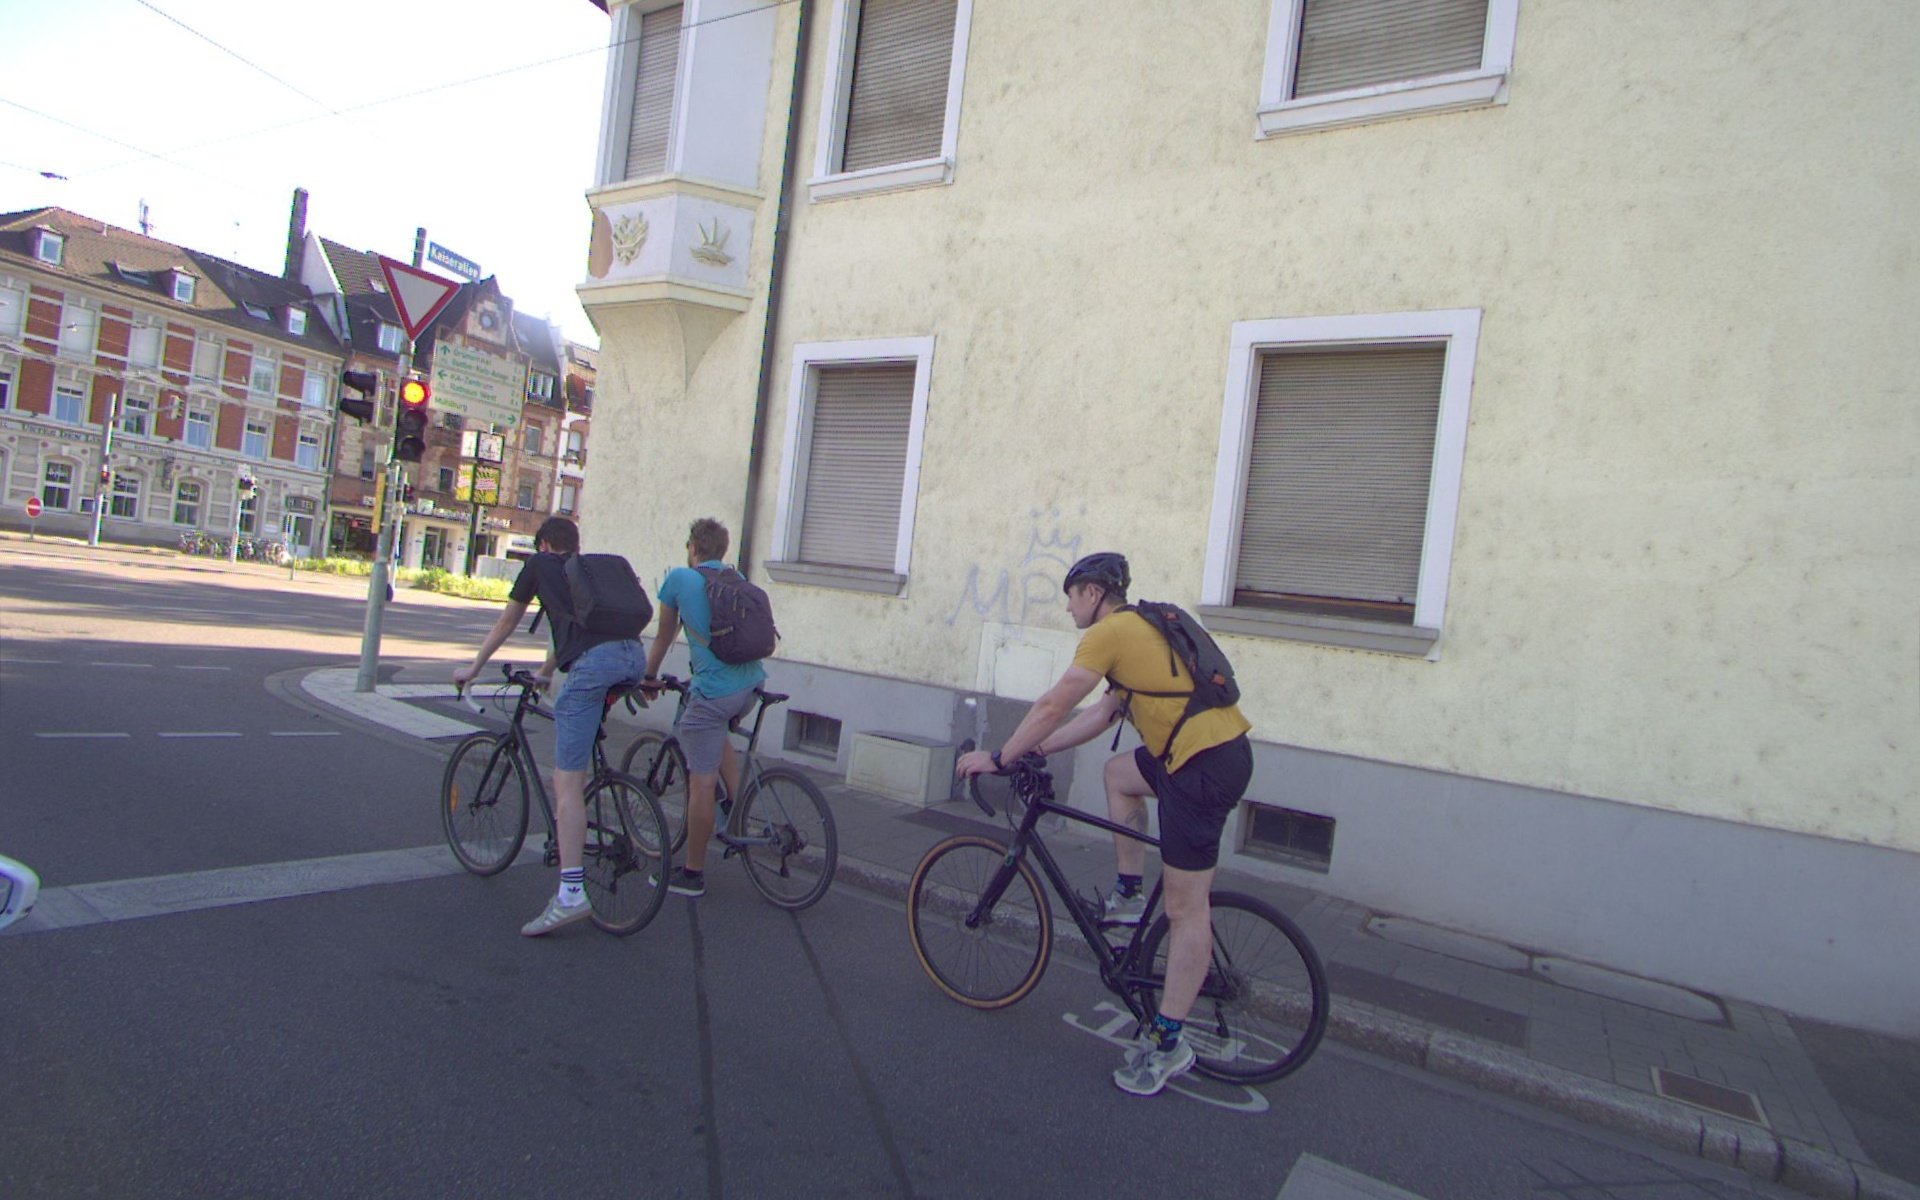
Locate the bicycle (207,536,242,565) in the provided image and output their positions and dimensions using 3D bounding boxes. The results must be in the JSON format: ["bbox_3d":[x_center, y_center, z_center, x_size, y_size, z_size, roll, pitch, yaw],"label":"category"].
[{"bbox_3d":[-34.203,-2.308,46.760,2.140,1.157,0.618,7,0,37],"label":"bicycle"}]

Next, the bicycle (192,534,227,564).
[{"bbox_3d":[-34.538,-2.356,46.283,2.140,1.157,0.618,7,0,37],"label":"bicycle"}]

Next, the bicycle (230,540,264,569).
[{"bbox_3d":[-33.670,-2.161,47.512,2.140,1.157,0.618,7,0,37],"label":"bicycle"}]

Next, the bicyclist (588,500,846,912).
[{"bbox_3d":[-1.269,0.498,5.246,0.961,1.917,0.602,6,-1,34],"label":"bicyclist"}]

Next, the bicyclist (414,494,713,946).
[{"bbox_3d":[-1.802,0.472,4.545,1.083,1.775,0.562,7,0,34],"label":"bicyclist"}]

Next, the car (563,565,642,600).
[{"bbox_3d":[-23.161,-1.125,65.321,2.116,1.660,4.340,7,-1,31],"label":"car"}]

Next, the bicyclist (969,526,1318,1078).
[{"bbox_3d":[0.682,0.660,3.746,0.939,1.742,0.582,7,0,32],"label":"bicyclist"}]

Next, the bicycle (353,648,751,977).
[{"bbox_3d":[-1.913,0.854,4.591,1.897,1.023,0.645,7,0,34],"label":"bicycle"}]

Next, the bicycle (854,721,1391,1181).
[{"bbox_3d":[0.552,1.146,3.766,1.780,1.101,0.611,7,0,32],"label":"bicycle"}]

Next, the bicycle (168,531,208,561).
[{"bbox_3d":[-35.053,-2.445,45.680,2.140,1.157,0.806,7,0,37],"label":"bicycle"}]

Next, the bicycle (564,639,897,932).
[{"bbox_3d":[-1.253,0.885,5.280,1.784,1.130,0.519,7,0,34],"label":"bicycle"}]

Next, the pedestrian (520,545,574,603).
[{"bbox_3d":[-16.559,-1.040,40.377,1.285,2.068,1.321,7,0,31],"label":"pedestrian"}]

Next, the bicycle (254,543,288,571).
[{"bbox_3d":[-33.105,-2.068,48.316,2.102,1.150,0.609,7,0,37],"label":"bicycle"}]
